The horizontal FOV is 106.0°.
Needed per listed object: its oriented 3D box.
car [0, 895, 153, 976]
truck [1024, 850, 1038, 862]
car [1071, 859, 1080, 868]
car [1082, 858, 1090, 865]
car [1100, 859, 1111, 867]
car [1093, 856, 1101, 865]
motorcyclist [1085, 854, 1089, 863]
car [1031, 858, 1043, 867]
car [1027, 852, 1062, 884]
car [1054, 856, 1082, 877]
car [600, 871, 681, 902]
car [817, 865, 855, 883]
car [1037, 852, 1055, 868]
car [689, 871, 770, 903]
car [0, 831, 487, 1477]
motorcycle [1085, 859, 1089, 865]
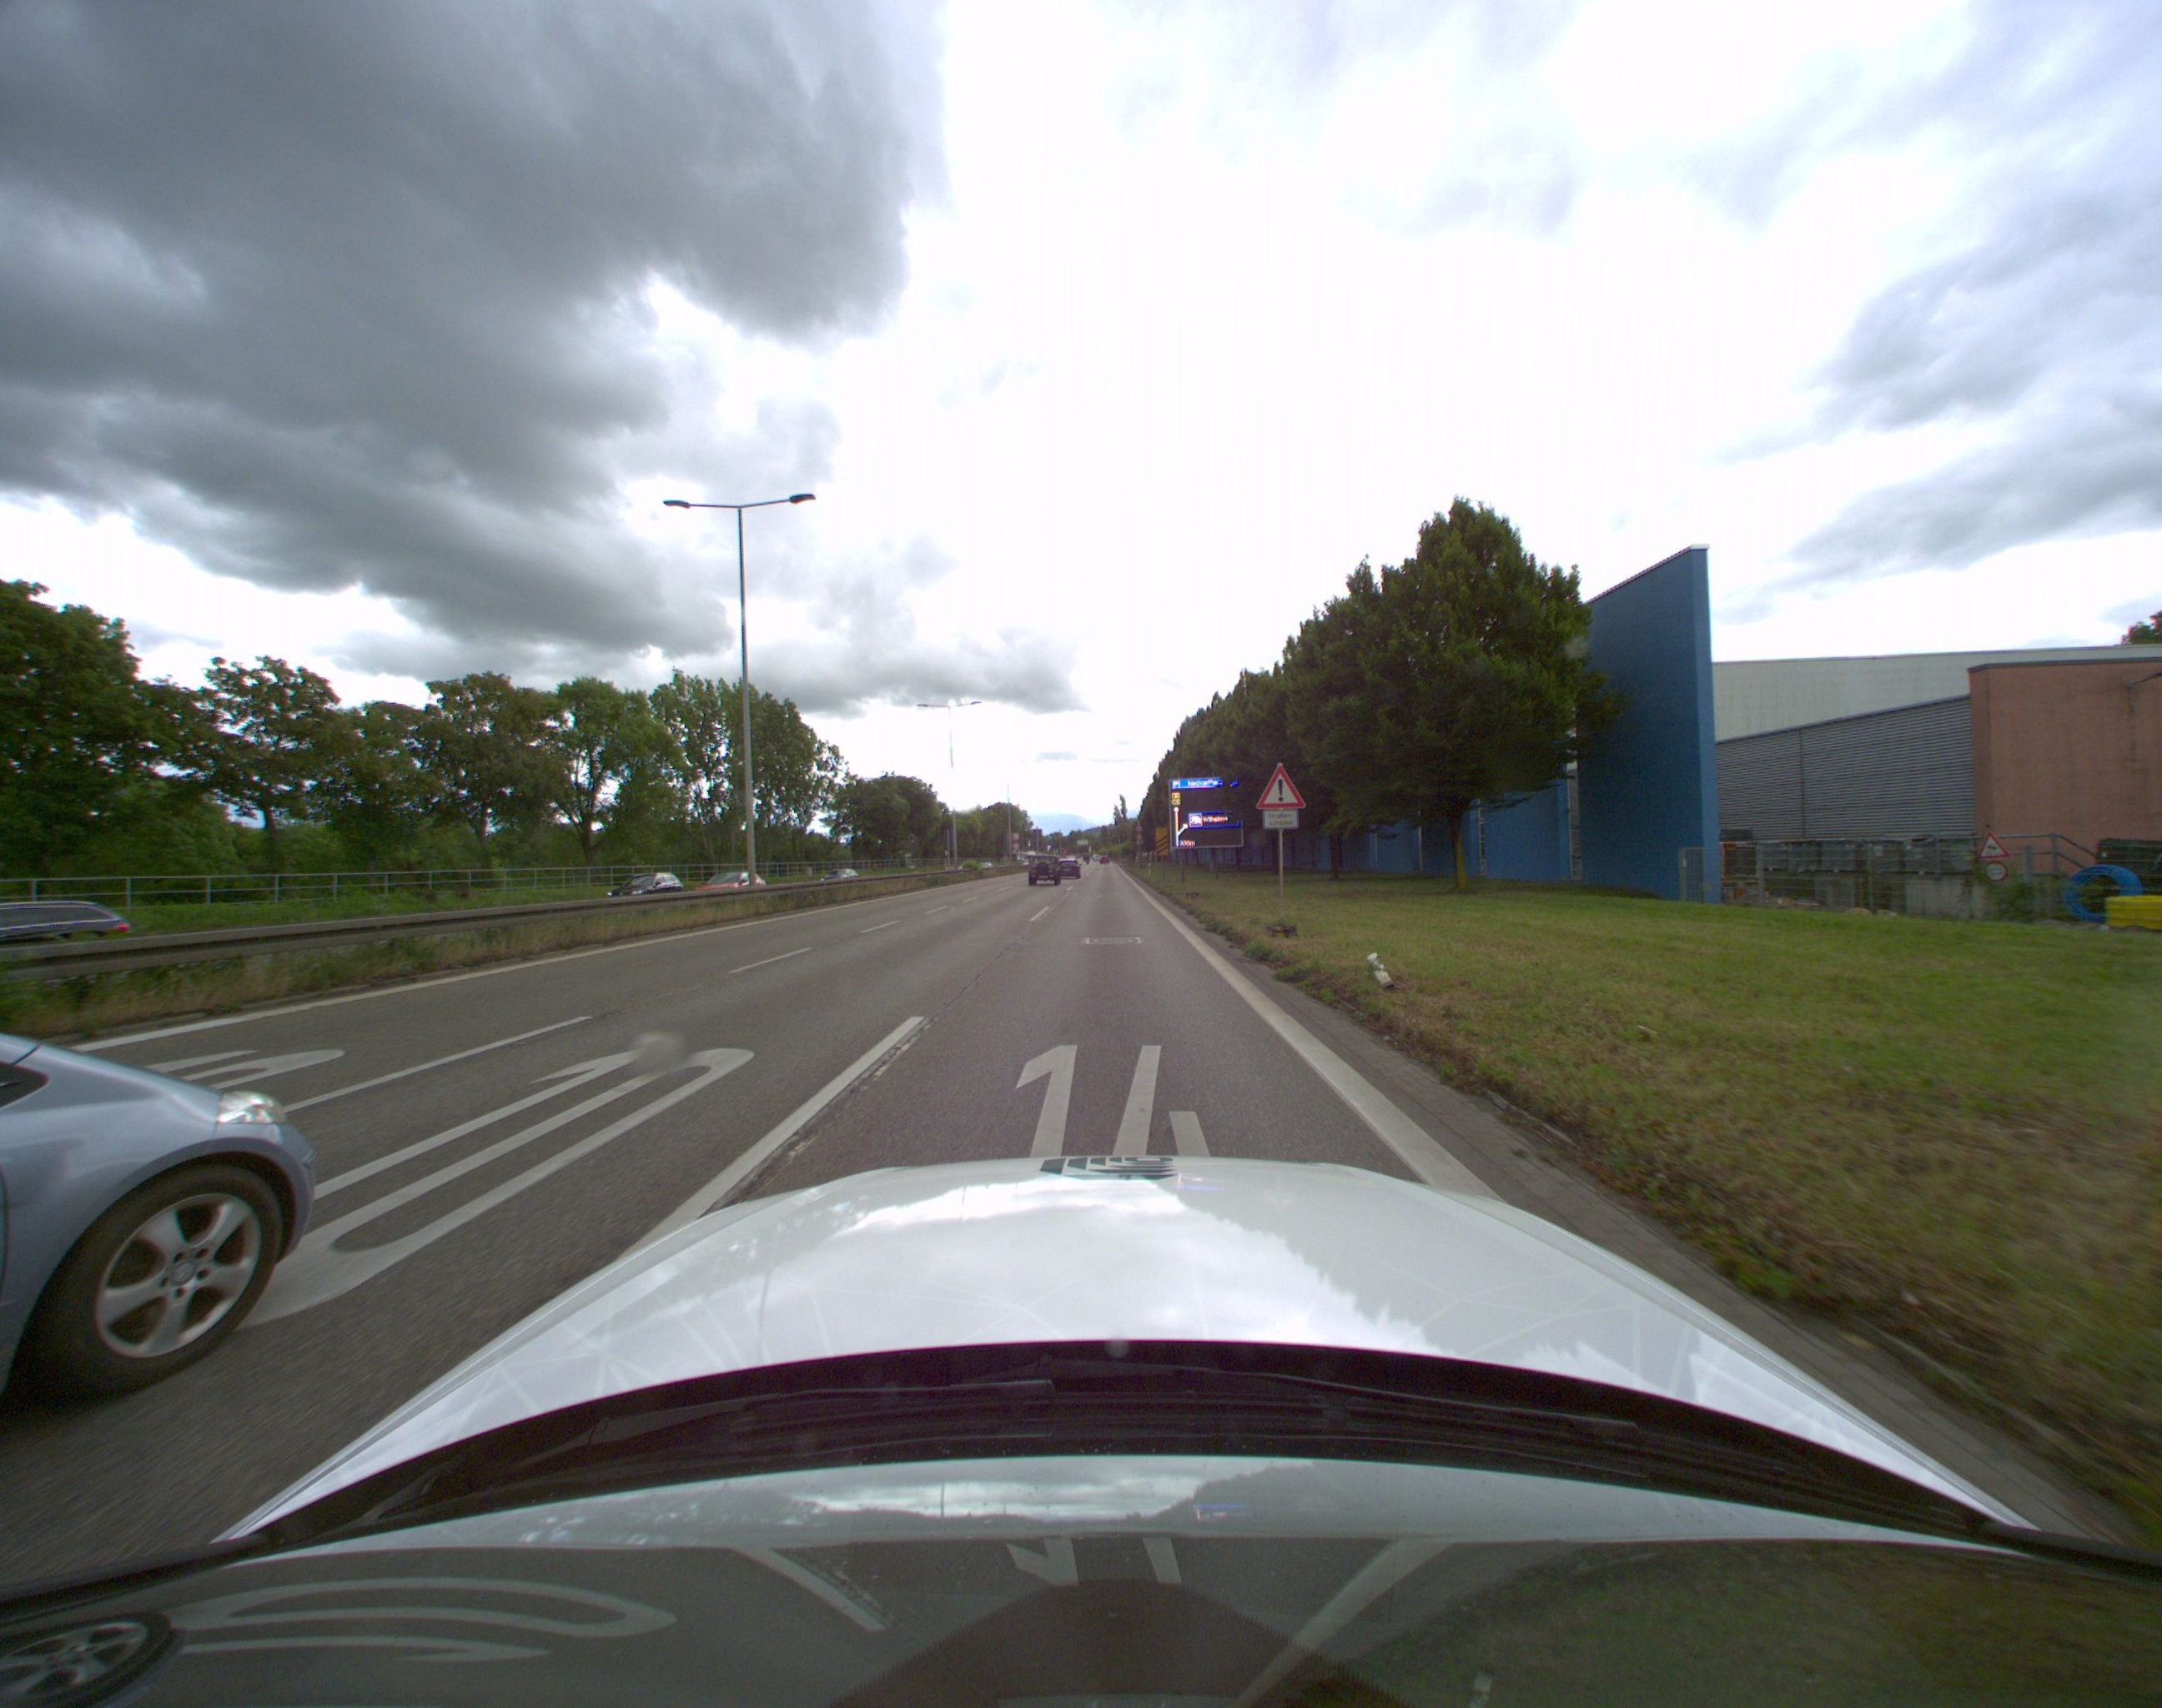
[{"bbox_3d":[-21.523,1.646,16.030,1.770,1.418,4.068,-2,0,2],"label":"car"},{"bbox_3d":[-15.383,0.527,250.910,2.876,3.578,9.597,-3,0,4],"label":"truck"},{"bbox_3d":[-1.172,1.910,168.932,1.693,1.742,4.390,-3,-1,-1],"label":"car"},{"bbox_3d":[1.436,1.990,218.786,2.006,1.934,4.900,-3,-1,1],"label":"car"},{"bbox_3d":[4.458,1.674,149.326,1.968,1.423,4.900,-3,-1,1],"label":"car"},{"bbox_3d":[4.033,1.636,204.102,2.006,1.934,4.900,-3,-1,1],"label":"car"},{"bbox_3d":[1.208,0.914,160.409,0.788,1.760,0.923,-1,0,2],"label":"motorcyclist"},{"bbox_3d":[-10.545,2.039,196.221,2.216,1.948,5.479,-2,-1,4],"label":"car"},{"bbox_3d":[-2.012,0.761,45.919,1.691,1.686,4.002,1,0,2],"label":"car"},{"bbox_3d":[-0.892,0.917,59.991,1.839,1.423,4.900,-3,-1,1],"label":"car"},{"bbox_3d":[-21.313,1.557,39.572,1.573,1.299,4.063,-2,0,2],"label":"car"},{"bbox_3d":[-20.313,1.626,67.673,1.654,1.299,4.788,-2,0,1],"label":"car"},{"bbox_3d":[-3.793,0.645,87.883,1.692,1.742,4.000,1,0,1],"label":"car"},{"bbox_3d":[-14.723,1.352,34.369,1.539,1.106,4.068,-2,0,2],"label":"car"},{"bbox_3d":[-3.536,0.739,1.426,1.872,1.539,4.146,-2,0,1],"label":"car"},{"bbox_3d":[1.209,1.598,160.353,0.788,1.219,2.331,-2,0,2],"label":"motorcycle"}]
